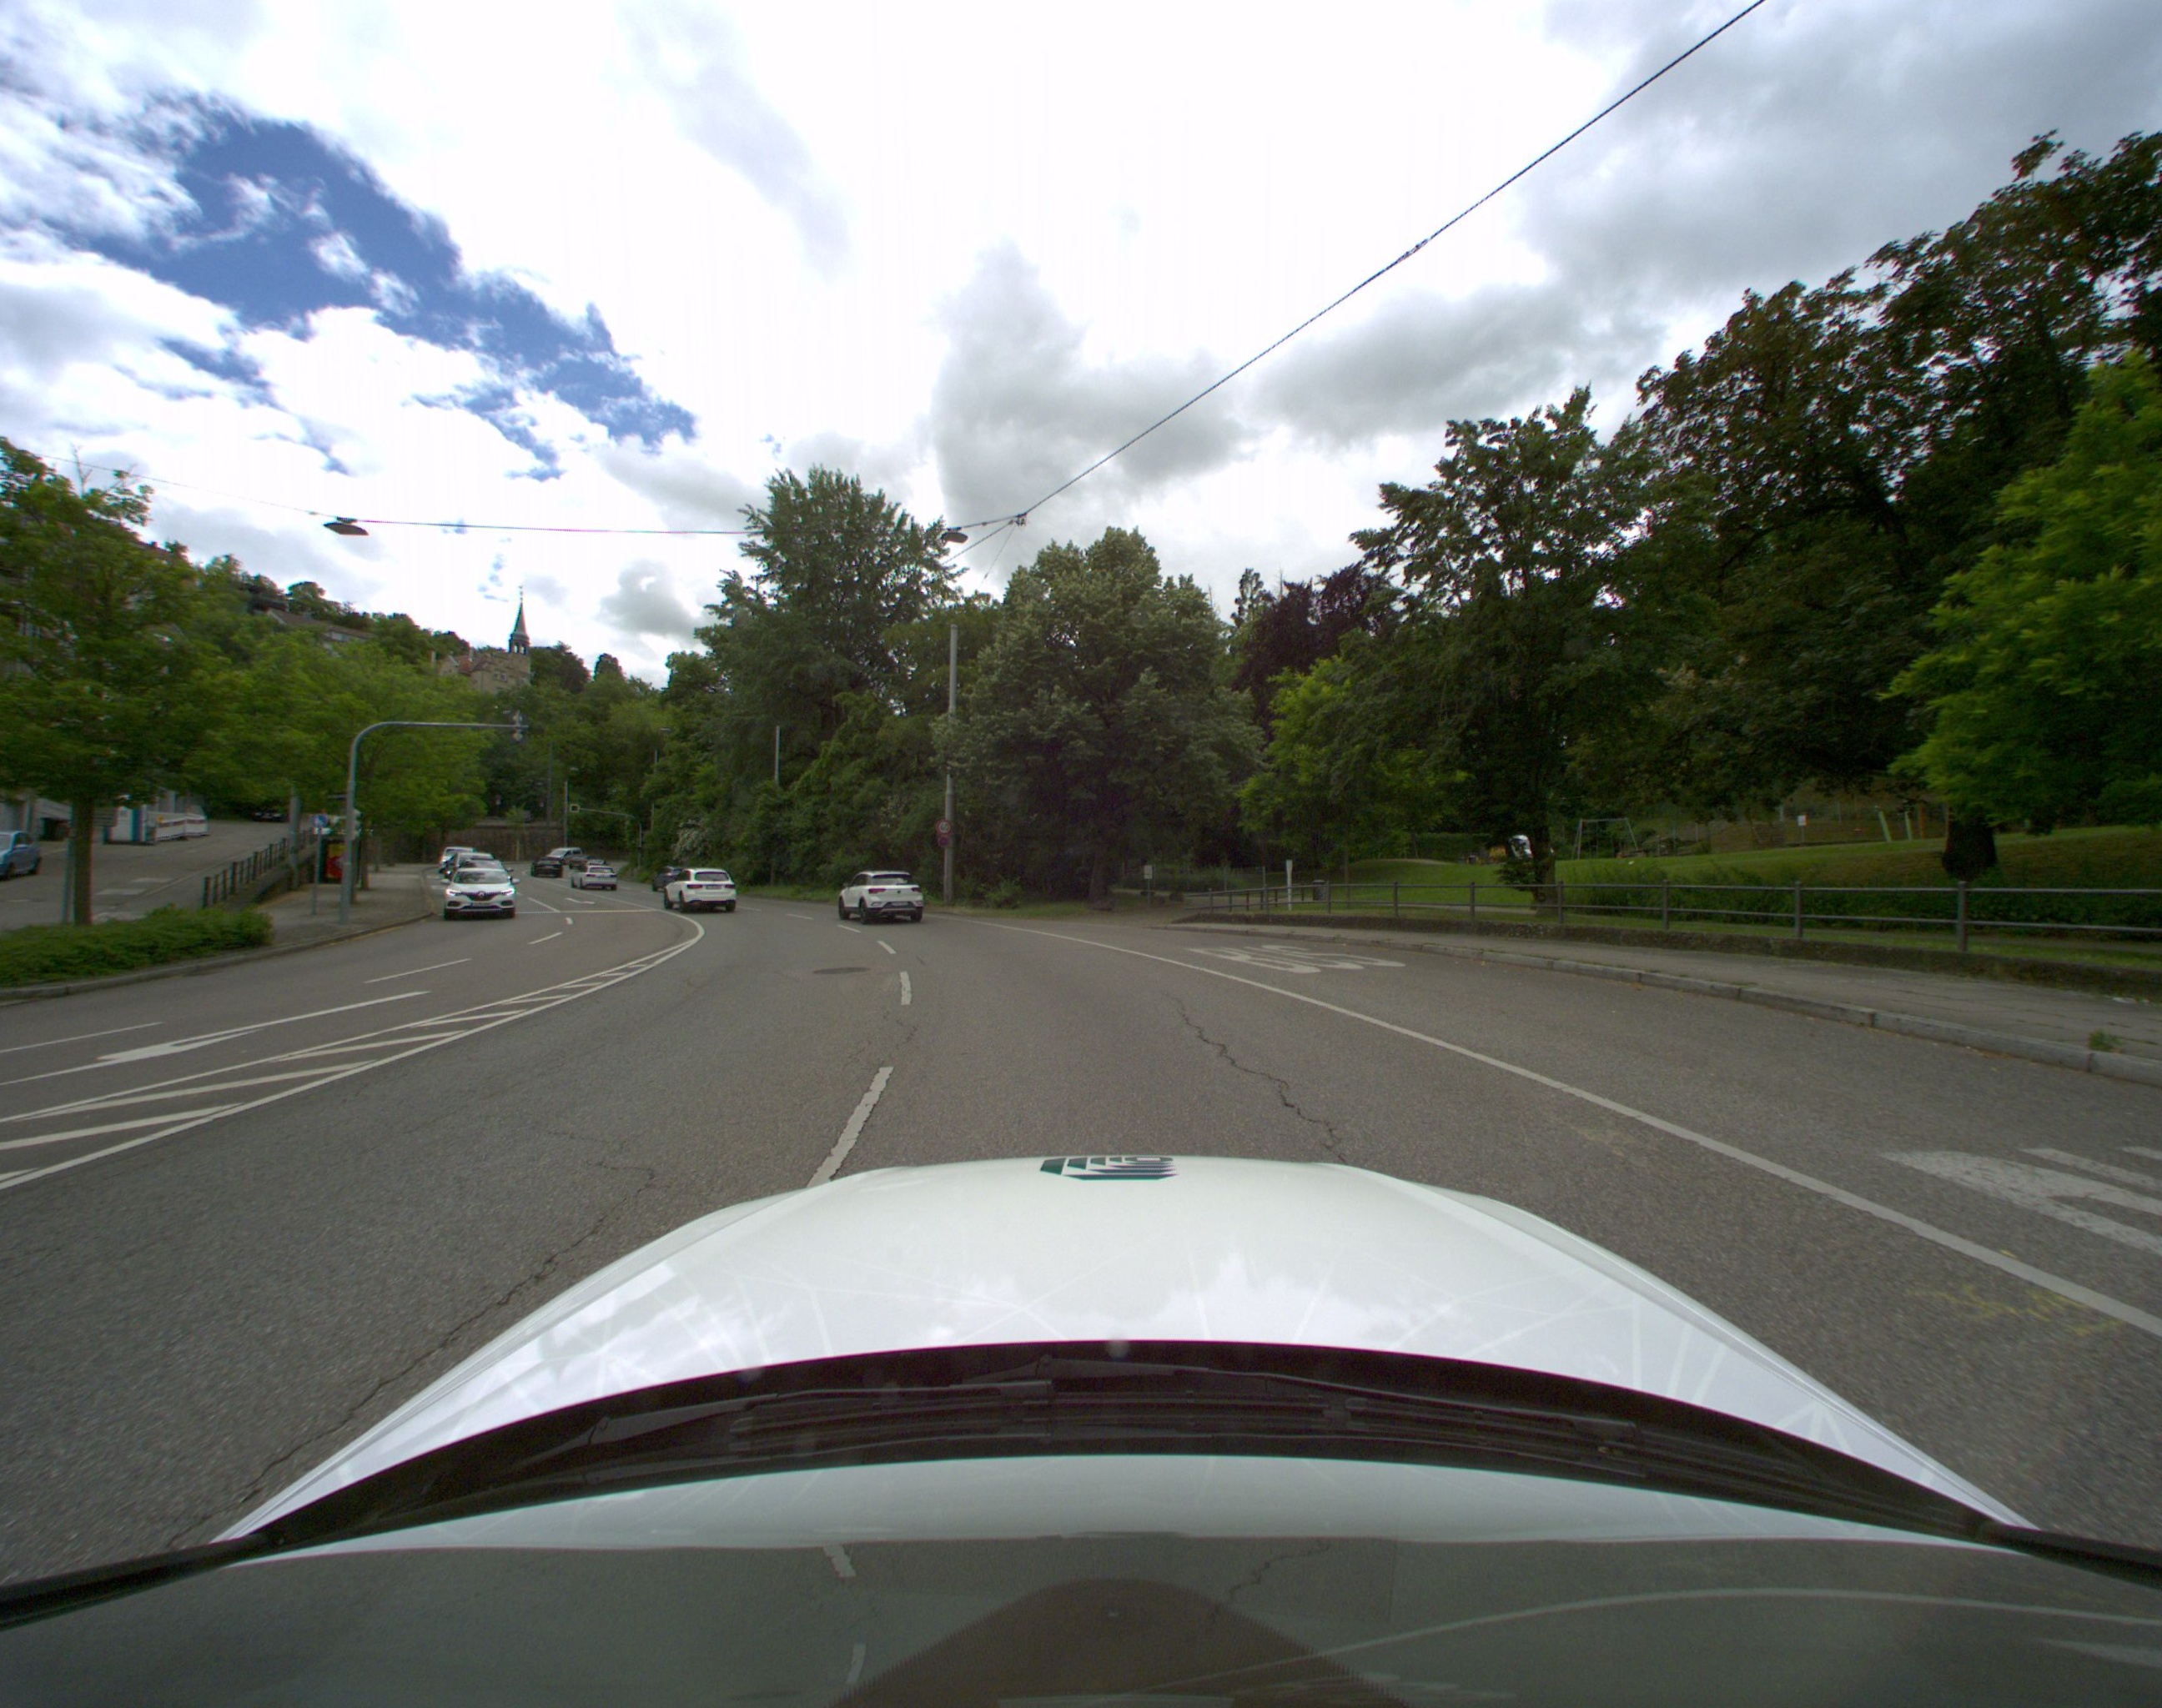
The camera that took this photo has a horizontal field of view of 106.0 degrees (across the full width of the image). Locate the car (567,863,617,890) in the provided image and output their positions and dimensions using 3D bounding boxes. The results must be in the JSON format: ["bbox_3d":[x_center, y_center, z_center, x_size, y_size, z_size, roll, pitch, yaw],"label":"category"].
[{"bbox_3d":[-29.166,1.335,48.532,2.264,1.519,4.261,1,-1,-35],"label":"car"}]

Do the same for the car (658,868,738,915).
[{"bbox_3d":[-14.688,1.371,31.116,1.892,1.652,4.292,0,-1,-38],"label":"car"}]

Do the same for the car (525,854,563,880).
[{"bbox_3d":[-43.402,1.043,65.925,2.202,2.014,3.963,-1,-1,-29],"label":"car"}]

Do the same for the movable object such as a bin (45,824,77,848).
[{"bbox_3d":[-45.888,-0.797,36.647,0.828,1.042,0.813,0,1,45],"label":"movable object such as a bin"}]

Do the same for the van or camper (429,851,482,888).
[{"bbox_3d":[-35.008,0.860,45.514,2.010,1.896,5.392,3,-2,-41],"label":"van or camper"}]

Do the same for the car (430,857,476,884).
[{"bbox_3d":[-38.825,1.021,50.328,2.010,1.521,3.944,4,-3,-40],"label":"car"}]

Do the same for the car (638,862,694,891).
[{"bbox_3d":[-24.645,1.312,48.343,1.878,1.632,3.910,-1,0,-44],"label":"car"}]

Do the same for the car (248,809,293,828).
[{"bbox_3d":[-64.147,-2.771,64.482,1.560,1.279,3.566,0,0,-29],"label":"car"}]

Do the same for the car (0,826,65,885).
[{"bbox_3d":[-34.312,-0.019,25.532,2.008,1.574,3.958,4,1,-36],"label":"car"}]

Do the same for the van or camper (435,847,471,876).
[{"bbox_3d":[-47.429,0.575,61.473,2.009,2.014,5.498,3,-2,-38],"label":"van or camper"}]

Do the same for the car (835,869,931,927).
[{"bbox_3d":[-6.231,1.288,25.356,1.877,1.556,3.857,-1,0,-30],"label":"car"}]

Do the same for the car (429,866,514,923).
[{"bbox_3d":[-19.860,1.237,26.701,1.909,1.654,4.330,-1,0,-33],"label":"car"}]

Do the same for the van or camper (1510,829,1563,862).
[{"bbox_3d":[30.581,-0.554,54.885,2.284,2.013,5.469,-2,0,20],"label":"van or camper"}]

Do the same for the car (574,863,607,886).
[{"bbox_3d":[-45.797,1.918,76.104,2.001,2.014,3.971,-1,-1,-21],"label":"car"}]

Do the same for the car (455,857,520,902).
[{"bbox_3d":[-25.577,1.058,35.022,1.912,1.791,4.703,-1,0,-40],"label":"car"}]

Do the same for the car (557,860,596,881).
[{"bbox_3d":[-51.064,1.677,82.576,1.994,2.014,3.986,-1,-1,-10],"label":"car"}]

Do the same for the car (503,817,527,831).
[{"bbox_3d":[-69.179,-3.657,99.630,2.006,1.485,3.964,2,2,-30],"label":"car"}]
